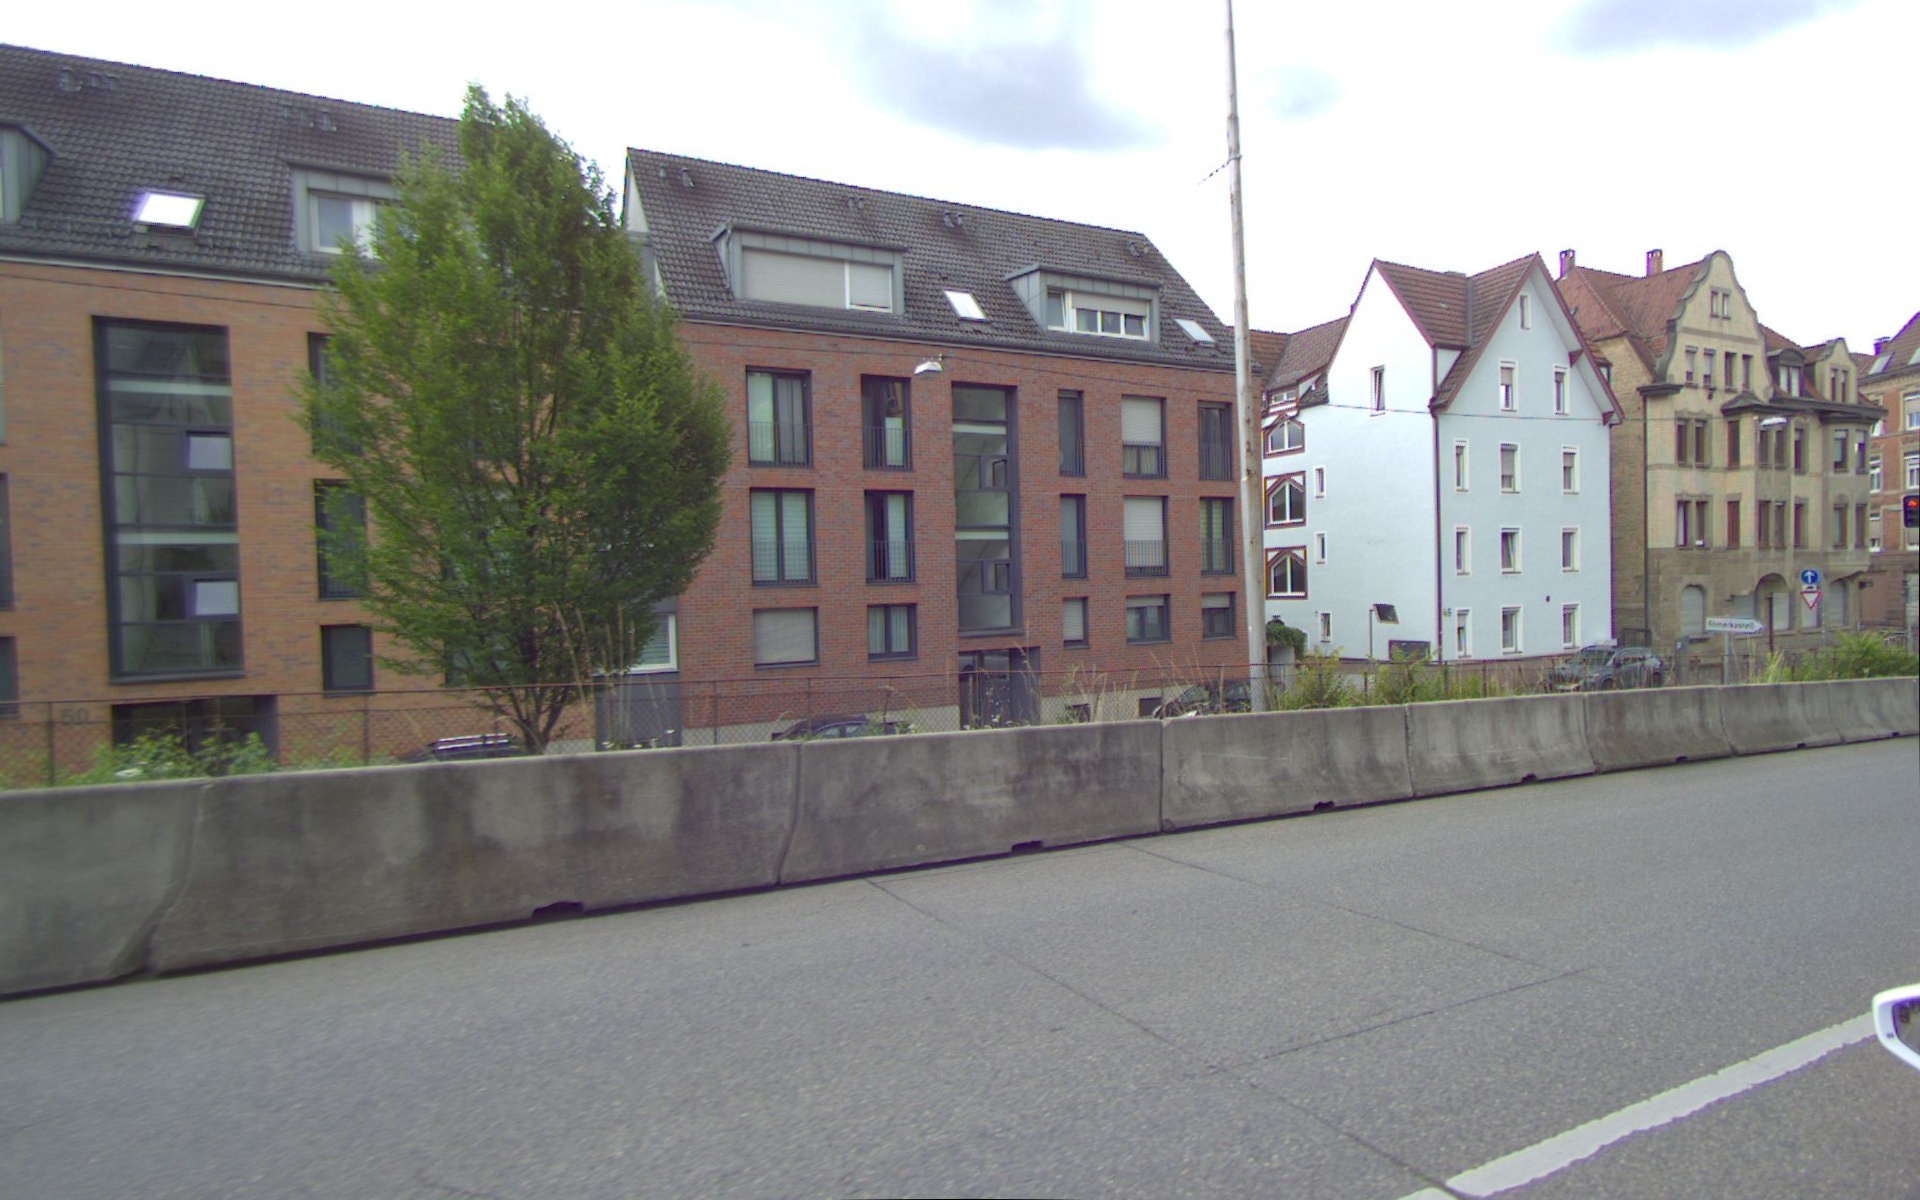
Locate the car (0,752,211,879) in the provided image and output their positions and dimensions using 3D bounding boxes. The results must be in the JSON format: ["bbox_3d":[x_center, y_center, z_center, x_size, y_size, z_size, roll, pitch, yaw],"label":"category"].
[{"bbox_3d":[-14.128,3.300,15.398,3.947,1.530,1.789,0,-2,-26],"label":"car"}]

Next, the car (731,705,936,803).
[{"bbox_3d":[-2.661,3.165,21.154,3.947,1.629,1.789,0,-2,-26],"label":"car"}]

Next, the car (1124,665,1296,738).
[{"bbox_3d":[6.483,2.568,26.049,4.159,1.629,1.789,0,-2,-26],"label":"car"}]

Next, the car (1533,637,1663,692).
[{"bbox_3d":[20.903,2.072,32.903,3.947,1.530,1.788,-1,0,-26],"label":"car"}]

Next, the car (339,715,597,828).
[{"bbox_3d":[-8.668,2.963,17.955,3.947,1.530,1.789,0,-2,-26],"label":"car"}]
